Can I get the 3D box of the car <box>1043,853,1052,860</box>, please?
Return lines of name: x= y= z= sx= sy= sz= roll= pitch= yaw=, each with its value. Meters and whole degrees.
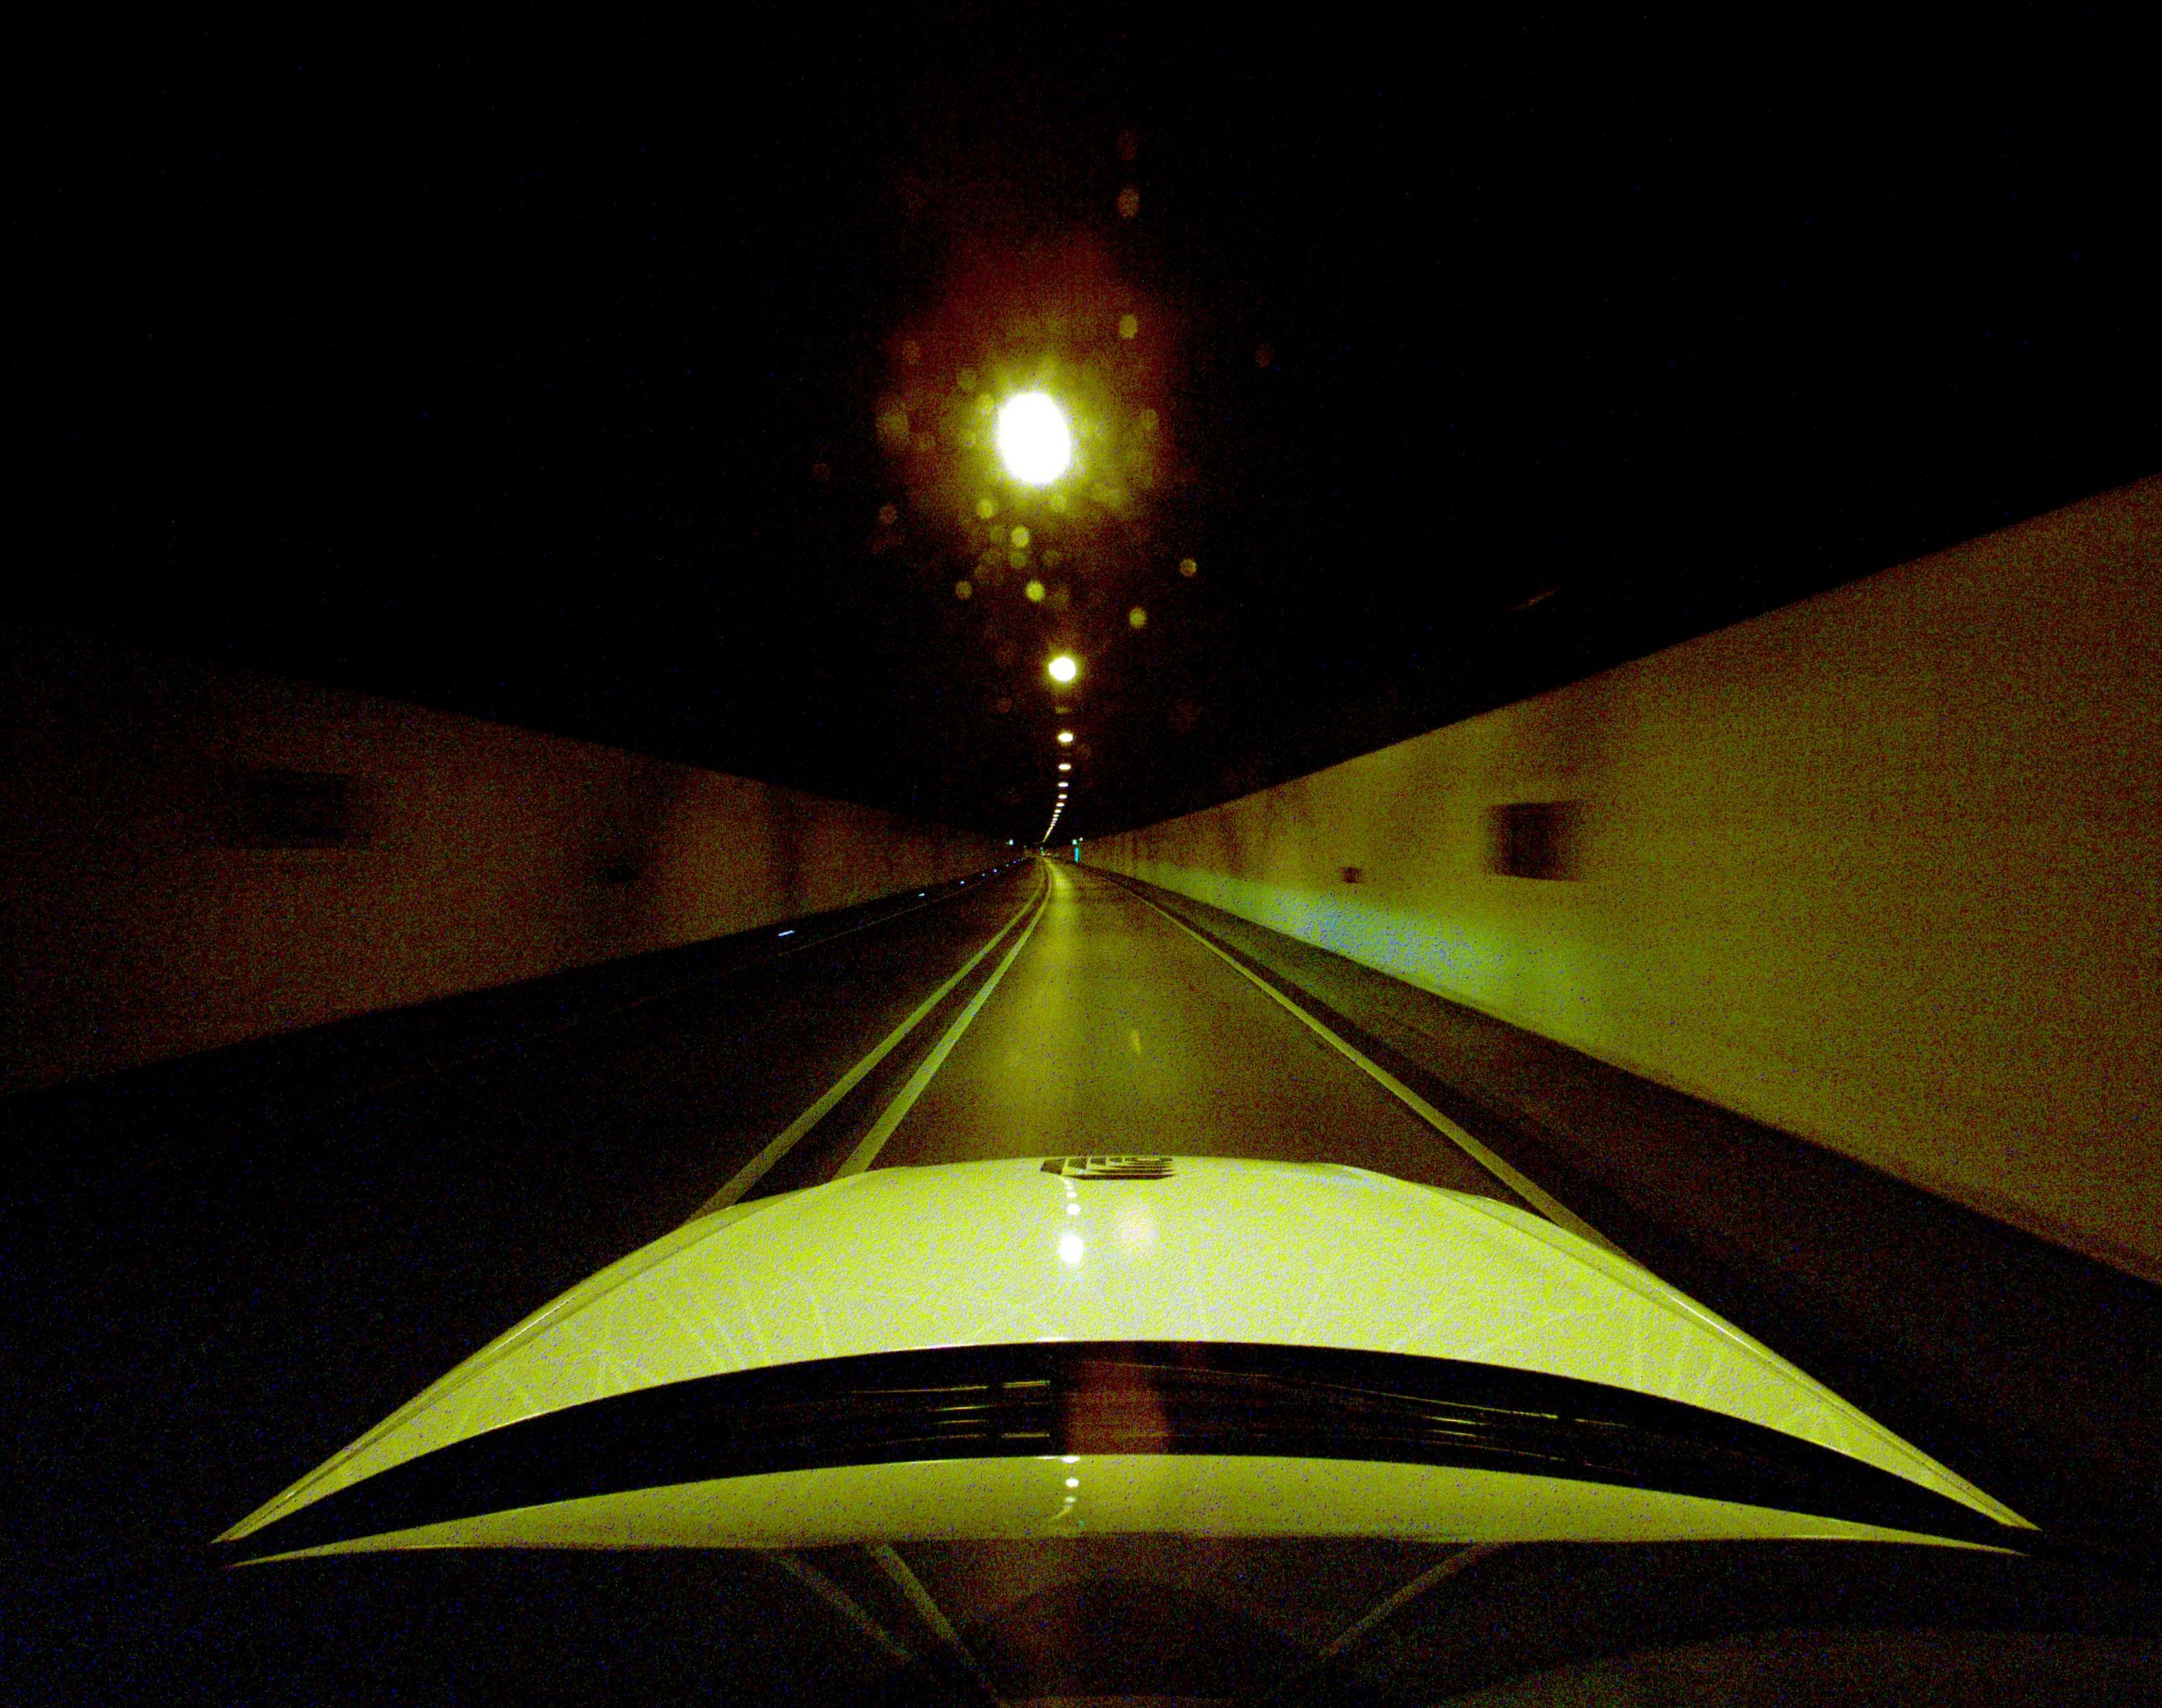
car: x=-9.107 y=0.649 z=220.351 sx=1.966 sy=1.939 sz=4.599 roll=0 pitch=-1 yaw=-9
